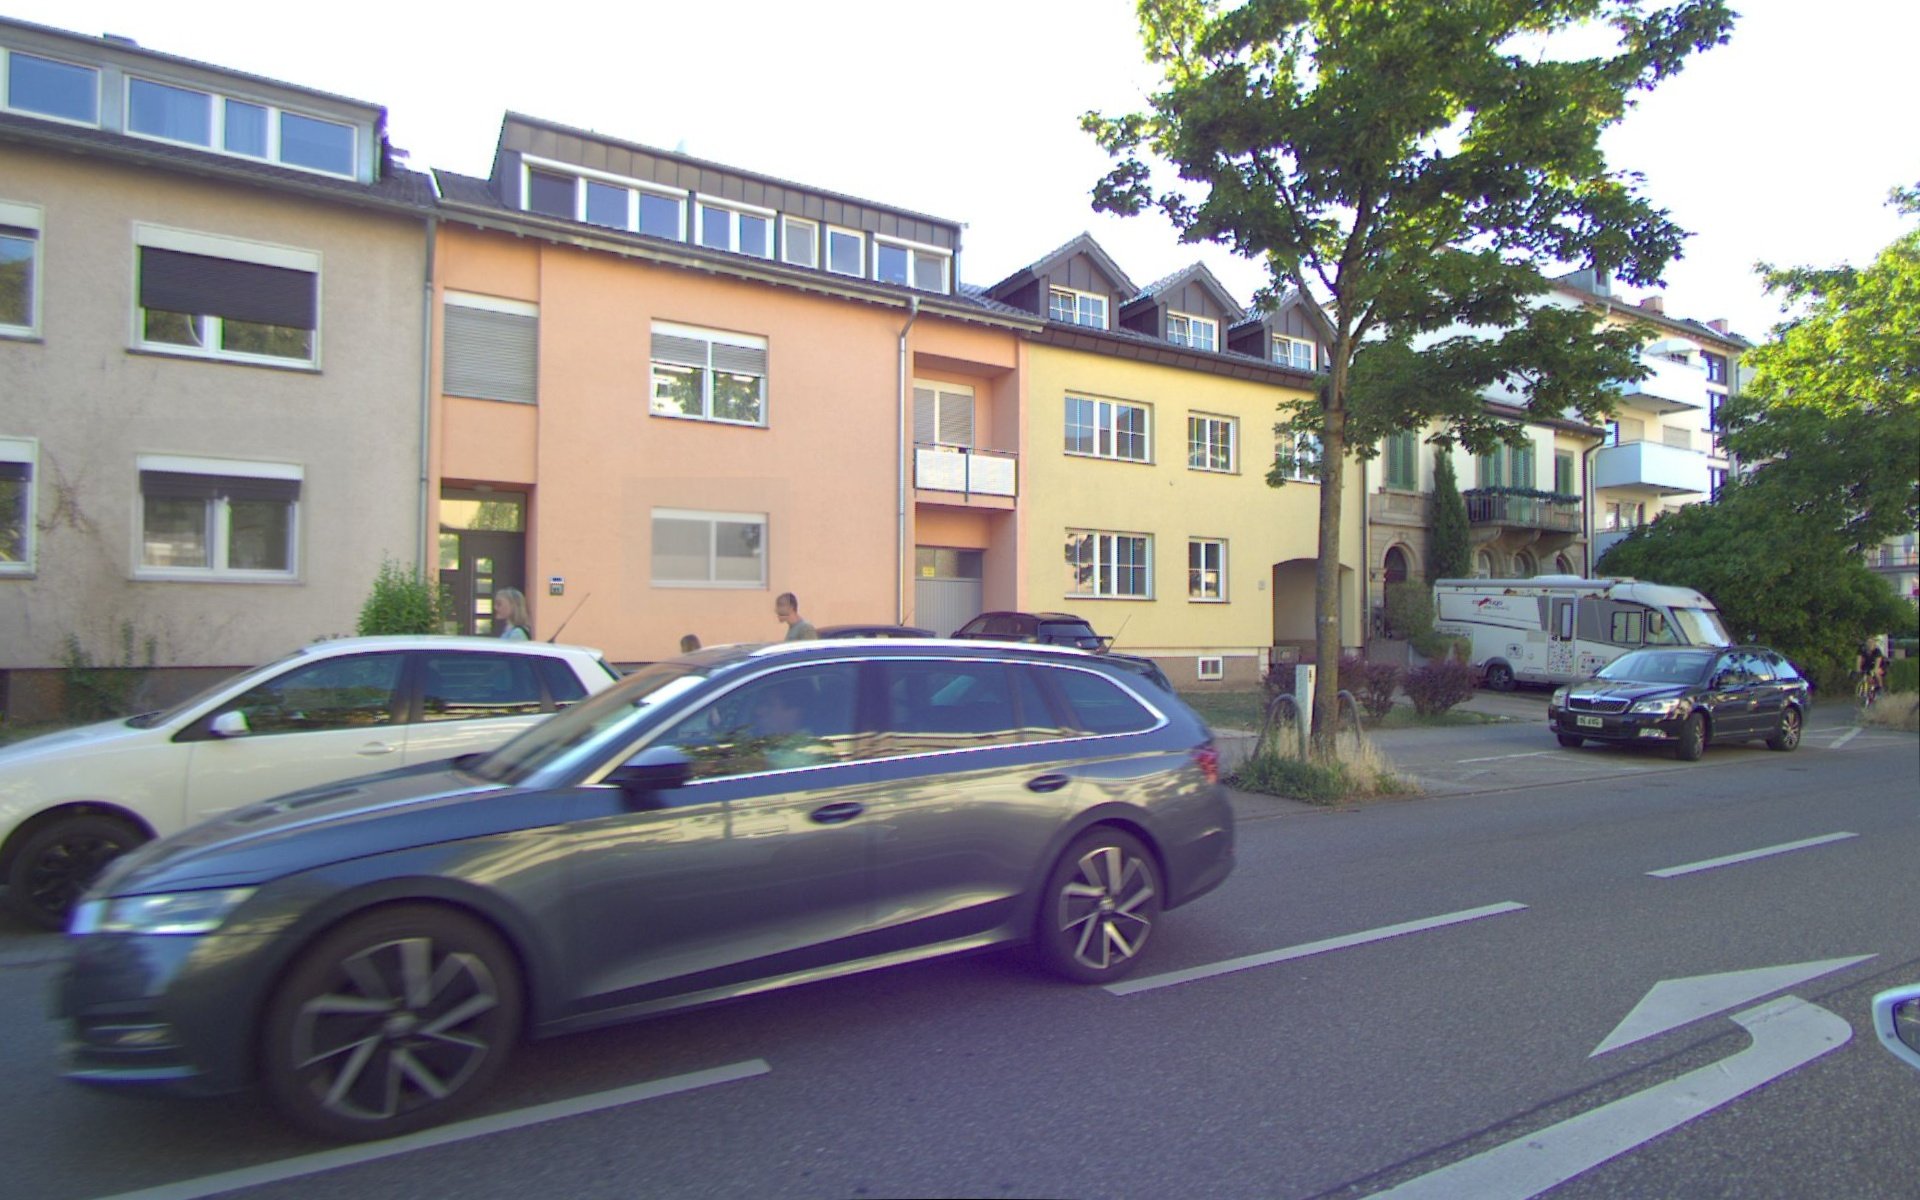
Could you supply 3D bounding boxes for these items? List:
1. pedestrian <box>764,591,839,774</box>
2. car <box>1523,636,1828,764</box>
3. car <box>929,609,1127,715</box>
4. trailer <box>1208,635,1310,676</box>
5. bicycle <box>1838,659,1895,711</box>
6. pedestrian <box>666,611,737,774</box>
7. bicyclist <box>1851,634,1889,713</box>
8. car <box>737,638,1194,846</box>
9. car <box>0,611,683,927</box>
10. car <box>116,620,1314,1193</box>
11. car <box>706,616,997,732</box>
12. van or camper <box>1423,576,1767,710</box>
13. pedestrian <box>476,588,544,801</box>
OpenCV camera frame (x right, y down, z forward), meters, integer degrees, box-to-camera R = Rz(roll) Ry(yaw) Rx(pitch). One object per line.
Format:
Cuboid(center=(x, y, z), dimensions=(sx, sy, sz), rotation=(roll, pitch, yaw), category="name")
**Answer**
Cuboid(center=(-1.657, 0.836, 10.465), dimensions=(0.564, 1.816, 0.711), rotation=(1, -2, -27), category="pedestrian")
Cuboid(center=(10.293, 1.330, 14.386), dimensions=(4.463, 1.514, 1.859), rotation=(2, 0, -30), category="car")
Cuboid(center=(1.142, 1.063, 18.762), dimensions=(1.843, 1.657, 3.970), rotation=(1, 0, -28), category="car")
Cuboid(center=(8.585, 1.578, 28.955), dimensions=(1.608, 0.973, 2.393), rotation=(2, 1, -29), category="trailer")
Cuboid(center=(19.701, 1.831, 21.820), dimensions=(1.516, 1.078, 0.484), rotation=(2, -2, -31), category="bicycle")
Cuboid(center=(-2.501, 0.870, 9.707), dimensions=(0.535, 1.515, 0.588), rotation=(1, -2, -27), category="pedestrian")
Cuboid(center=(19.874, 1.594, 21.930), dimensions=(0.546, 1.685, 0.466), rotation=(1, -2, -30), category="bicyclist")
Cuboid(center=(0.105, 1.055, 8.536), dimensions=(3.623, 1.415, 1.536), rotation=(2, -2, -30), category="car")
Cuboid(center=(-3.896, 0.882, 6.354), dimensions=(3.846, 1.543, 1.585), rotation=(2, -2, -31), category="car")
Cuboid(center=(-0.663, 0.893, 4.508), dimensions=(4.480, 1.471, 1.753), rotation=(2, -4, -30), category="car")
Cuboid(center=(-1.491, 0.986, 14.018), dimensions=(3.706, 1.427, 1.658), rotation=(1, -3, -29), category="car")
Cuboid(center=(15.120, 0.865, 24.554), dimensions=(2.324, 2.810, 6.764), rotation=(2, 0, -30), category="van or camper")
Cuboid(center=(-4.054, 0.823, 9.034), dimensions=(0.499, 1.816, 0.711), rotation=(1, -2, -27), category="pedestrian")
